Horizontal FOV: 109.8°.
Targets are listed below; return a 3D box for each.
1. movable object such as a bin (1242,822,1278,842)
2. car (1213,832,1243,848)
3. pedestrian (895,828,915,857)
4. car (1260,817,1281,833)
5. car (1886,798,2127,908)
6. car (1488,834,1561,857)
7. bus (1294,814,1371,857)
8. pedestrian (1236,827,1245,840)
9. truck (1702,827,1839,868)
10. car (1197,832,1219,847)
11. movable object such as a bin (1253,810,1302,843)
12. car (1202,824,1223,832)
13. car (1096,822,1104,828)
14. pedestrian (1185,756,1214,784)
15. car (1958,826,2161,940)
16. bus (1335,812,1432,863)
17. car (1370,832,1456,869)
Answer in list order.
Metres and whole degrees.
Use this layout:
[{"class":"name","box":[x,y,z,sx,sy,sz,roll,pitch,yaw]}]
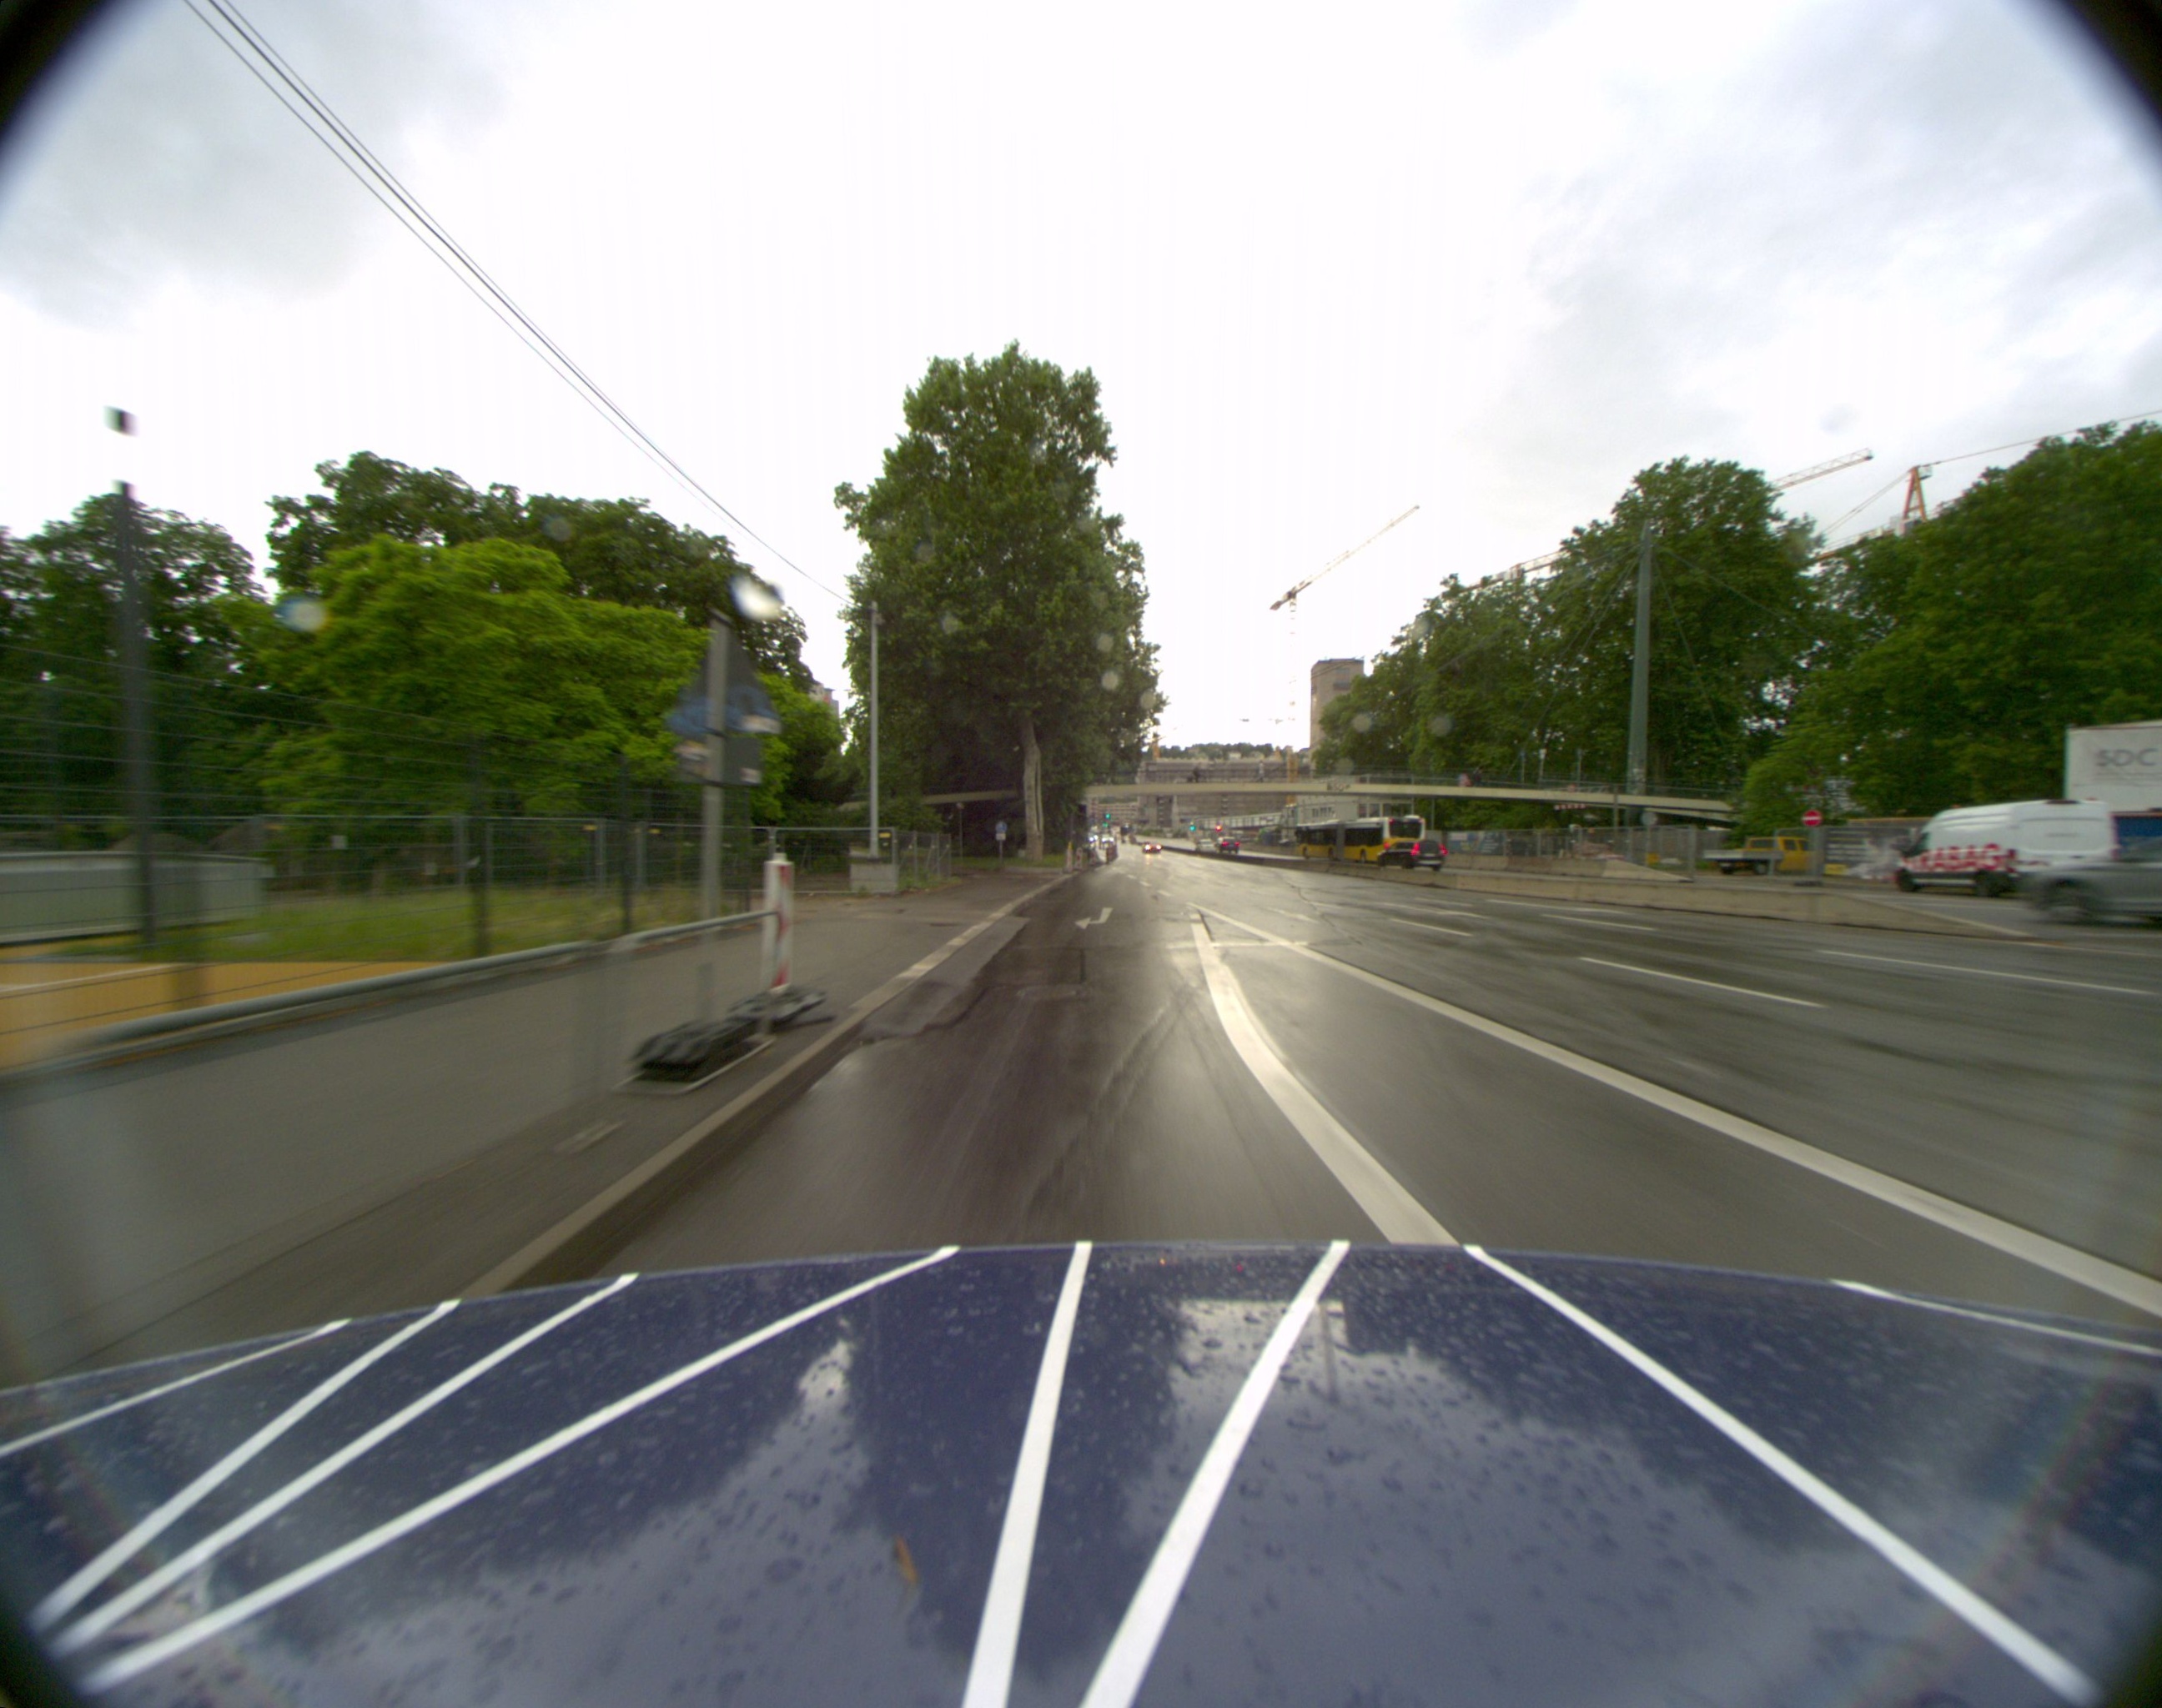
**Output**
[{"class":"movable object such as a bin","box":[29.485,-3.634,125.534,3.943,3.111,6.382,0,3,-4]},{"class":"car","box":[15.939,-1.564,82.688,2.087,1.621,4.849,0,2,-3]},{"class":"pedestrian","box":[-12.742,-0.841,54.871,1.054,2.002,1.036,-1,2,-37]},{"class":"car","box":[38.704,-5.950,155.350,2.280,3.050,6.162,0,3,-6]},{"class":"car","box":[27.224,-0.181,22.776,1.995,2.860,6.060,2,3,25]},{"class":"car","box":[32.716,-0.623,56.105,4.438,1.618,1.956,0,3,-11]},{"class":"bus","box":[19.775,-1.509,60.357,2.814,3.167,8.801,0,2,-2]},{"class":"pedestrian","box":[24.996,-3.181,119.100,1.183,2.003,1.173,-1,3,-3]},{"class":"truck","box":[34.784,-0.347,38.416,5.263,2.003,2.161,0,2,-7]},{"class":"car","box":[13.309,-1.547,79.770,1.713,1.481,3.448,0,3,-1]},{"class":"movable object such as a bin","box":[29.975,-4.247,116.480,4.763,4.777,8.351,0,3,-4]},{"class":"car","box":[33.316,-6.681,192.535,2.004,2.003,5.010,-2,3,-40]},{"class":"car","box":[5.392,-8.247,218.281,1.833,1.644,4.570,1,3,-4]},{"class":"pedestrian","box":[8.821,-6.272,56.600,1.990,2.003,1.111,0,3,1]},{"class":"car","box":[17.977,0.487,11.932,1.999,1.746,5.294,0,3,-3]},{"class":"bus","box":[20.129,-1.193,51.317,2.710,3.134,9.145,0,2,-1]},{"class":"car","box":[16.899,-0.241,38.996,2.045,1.653,4.929,0,3,-2]}]
